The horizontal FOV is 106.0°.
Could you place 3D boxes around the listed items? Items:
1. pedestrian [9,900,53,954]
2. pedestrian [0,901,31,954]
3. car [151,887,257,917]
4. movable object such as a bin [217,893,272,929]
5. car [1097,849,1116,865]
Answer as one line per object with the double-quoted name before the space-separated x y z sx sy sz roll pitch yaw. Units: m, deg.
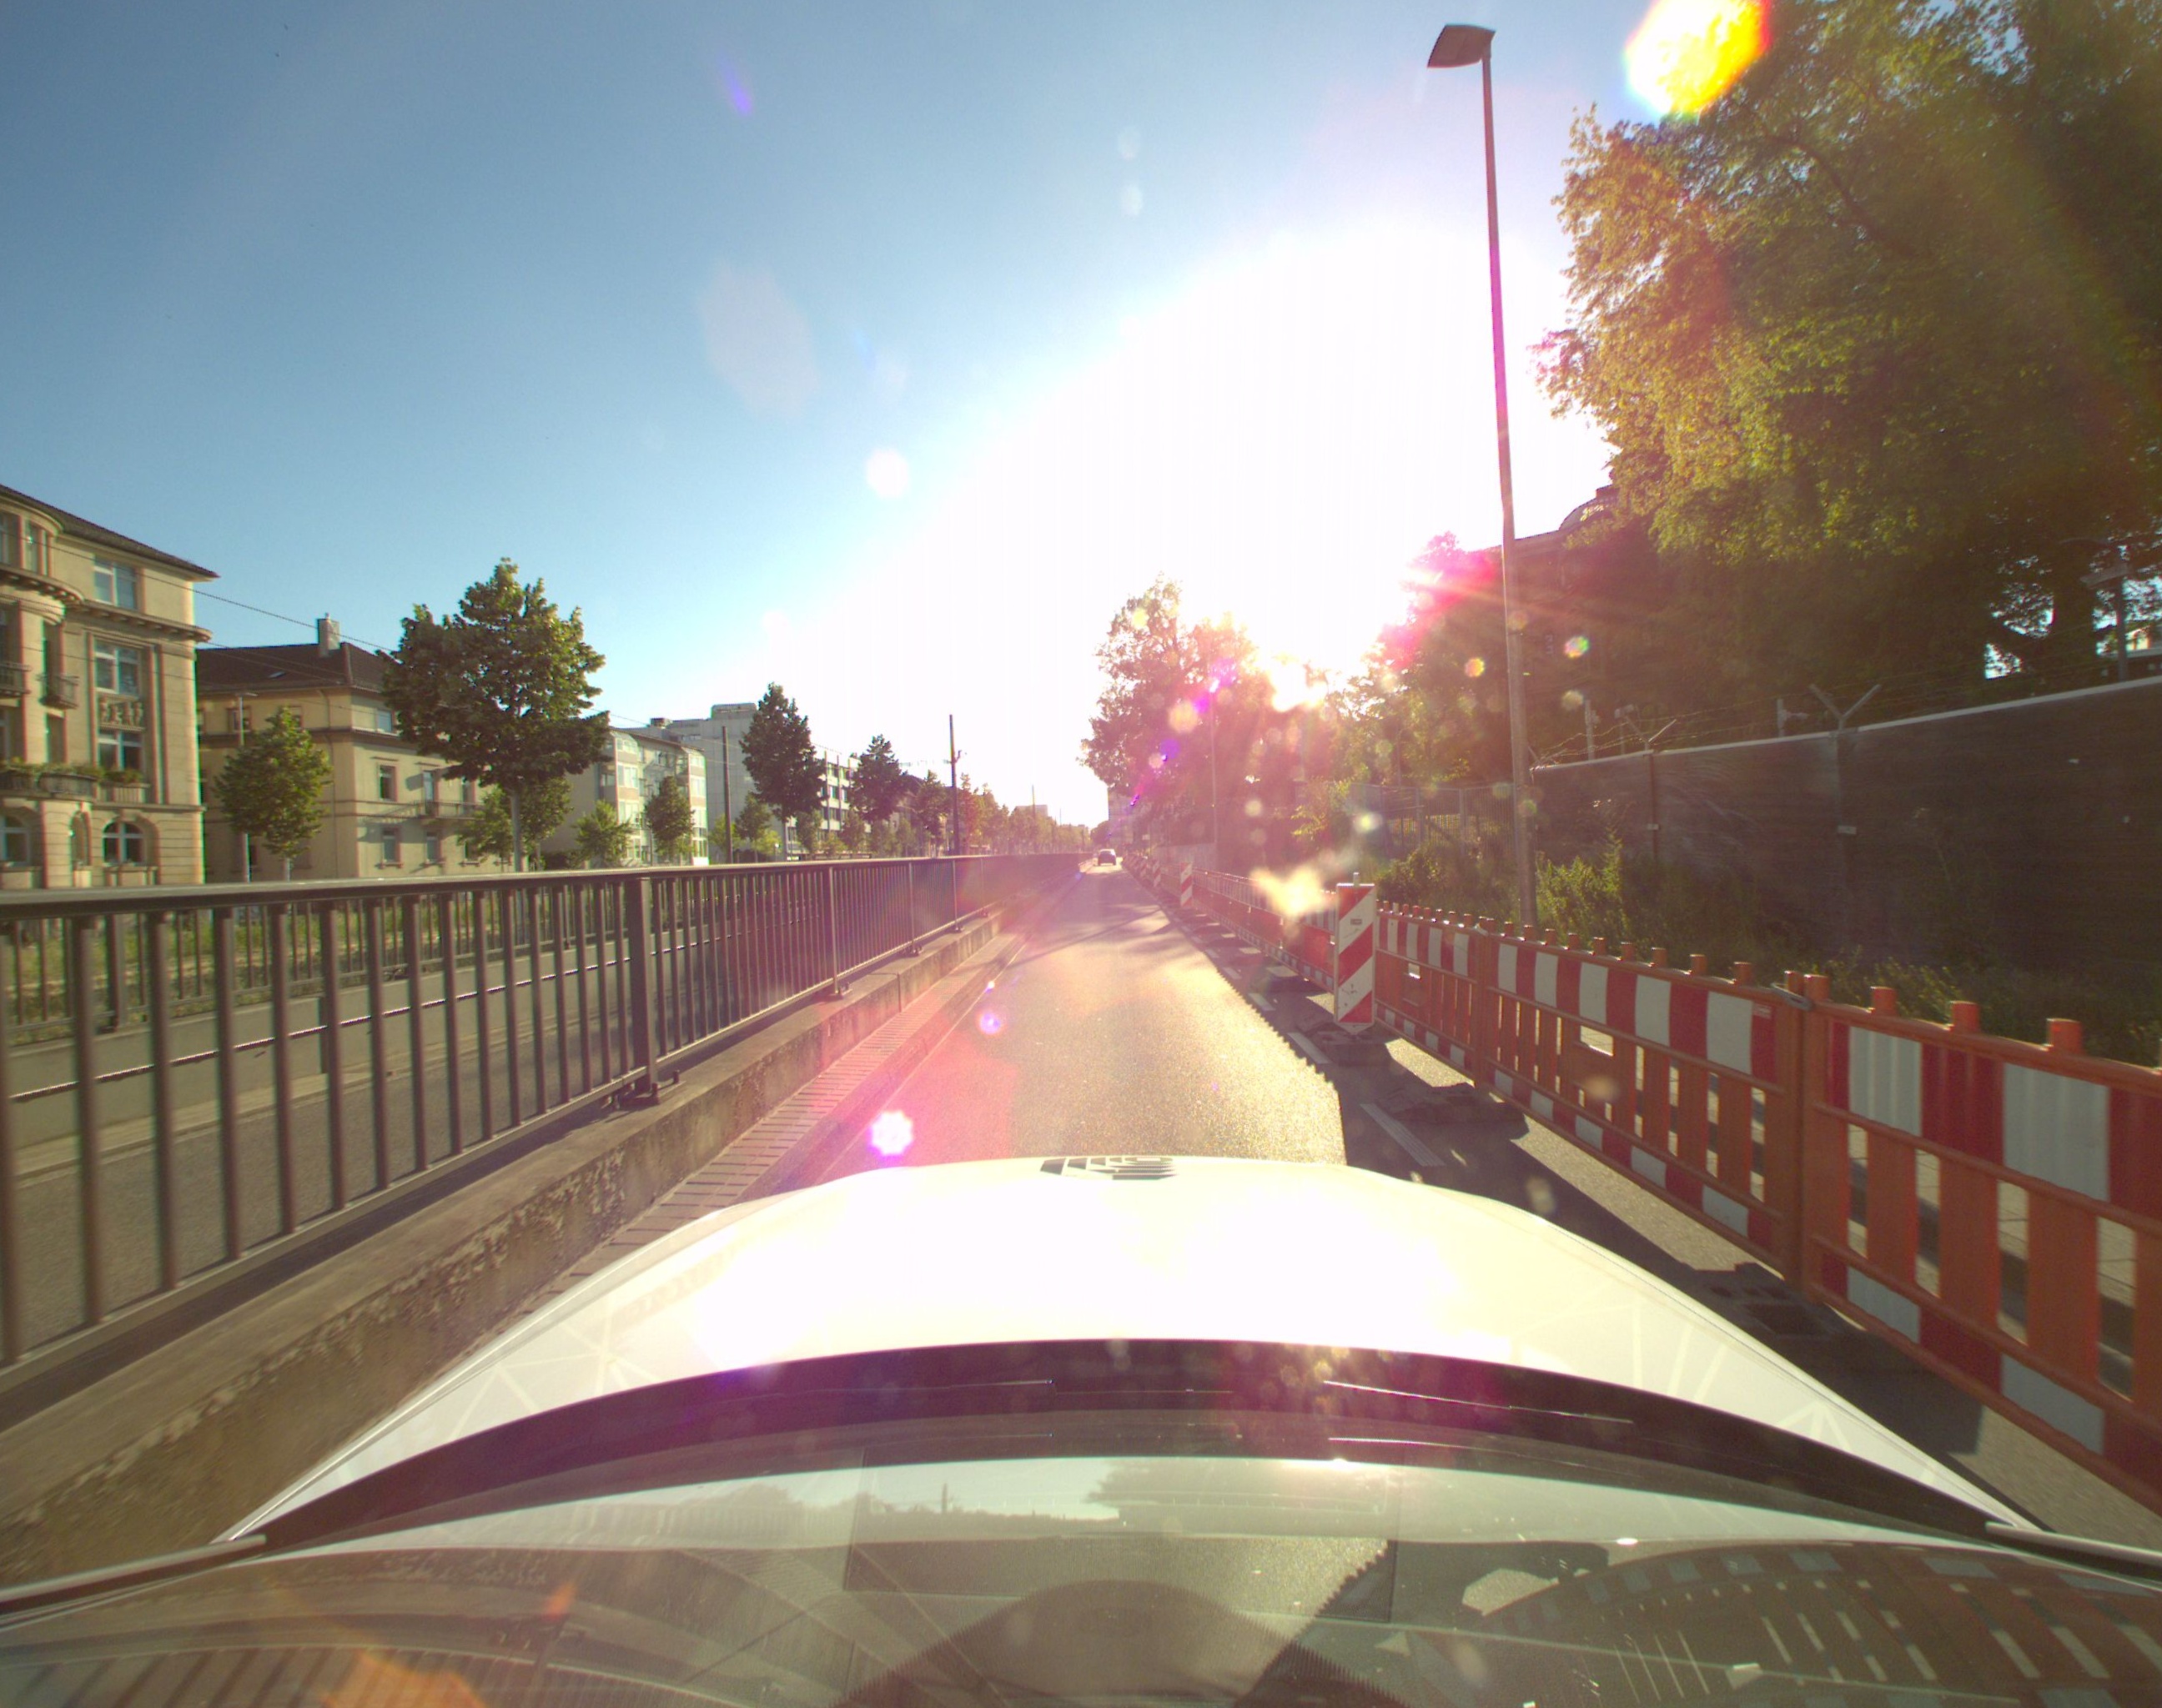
"pedestrian" -35.191 2.430 27.299 0.553 1.720 0.653 -3 0 1
"pedestrian" -36.025 2.459 27.341 0.653 1.720 0.653 -3 0 1
"car" -47.212 2.594 43.876 3.970 1.469 1.683 -1 -1 3
"movable object such as a bin" -36.727 2.494 35.760 1.201 1.429 1.080 -3 0 2
"car" 2.827 0.361 89.372 1.997 1.659 4.003 -1 0 3
